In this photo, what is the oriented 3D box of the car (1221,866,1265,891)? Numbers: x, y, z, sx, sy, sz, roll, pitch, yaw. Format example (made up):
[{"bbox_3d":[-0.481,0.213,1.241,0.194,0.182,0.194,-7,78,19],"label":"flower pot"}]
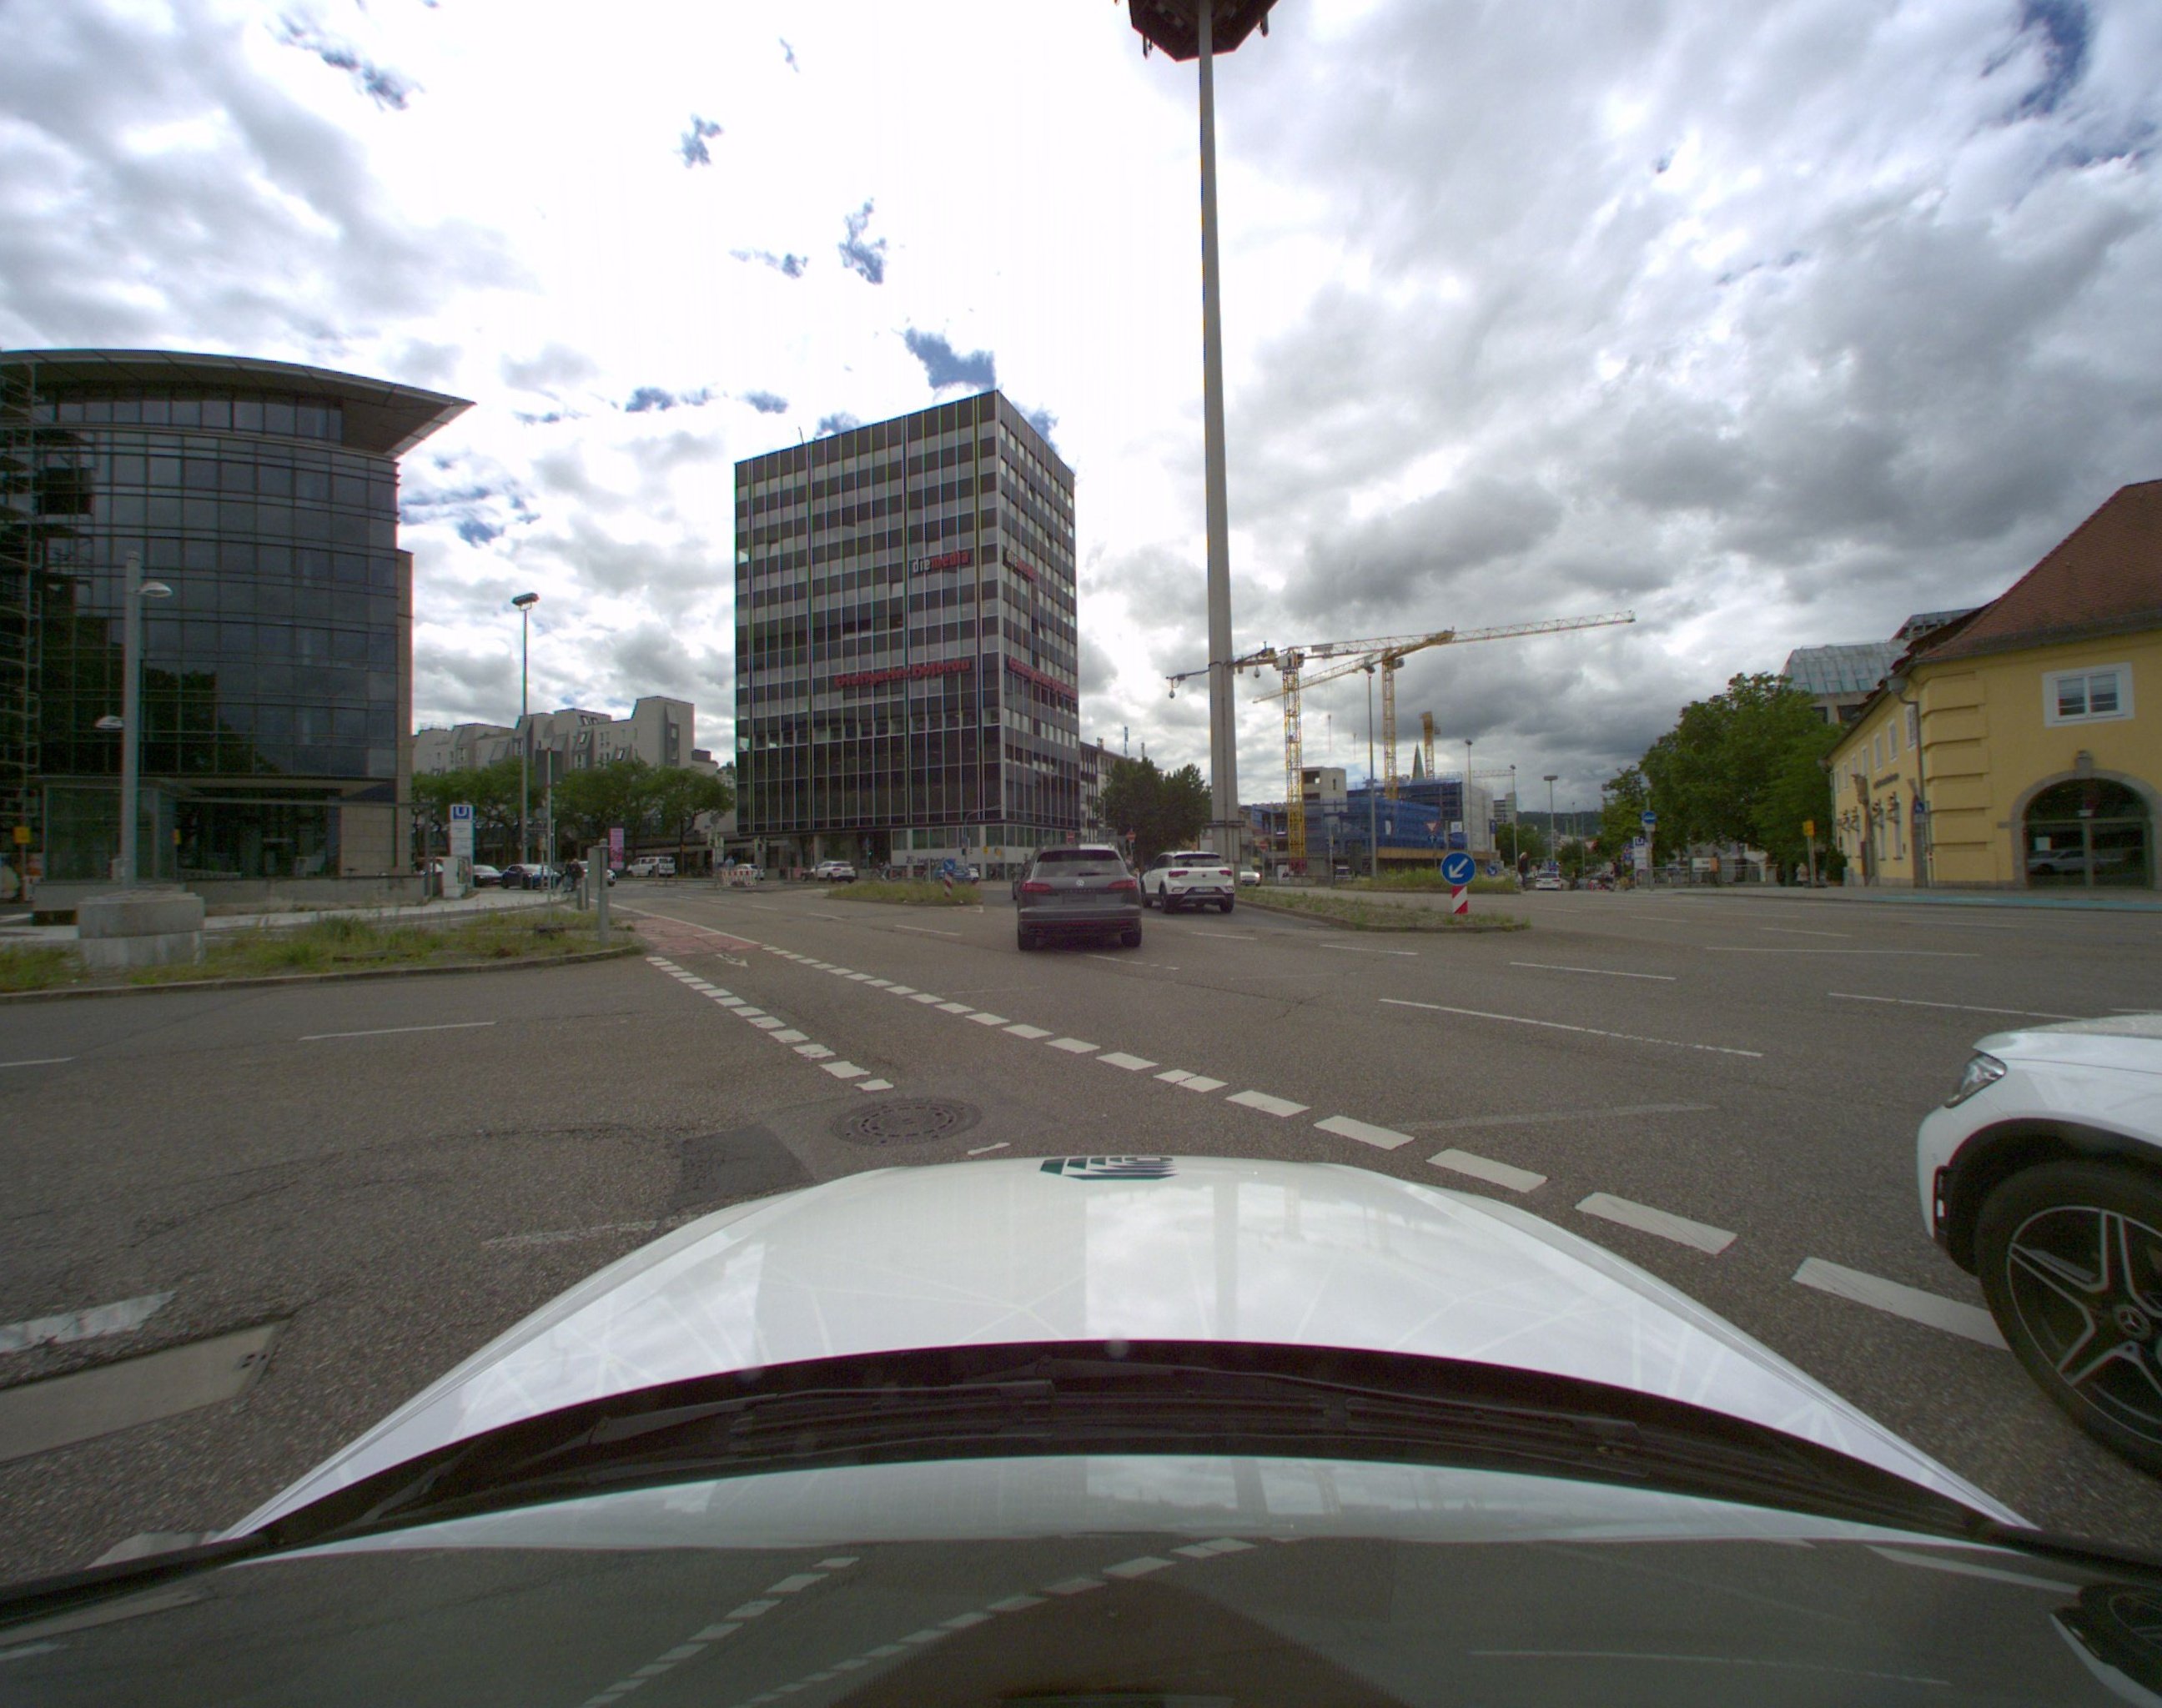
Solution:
[{"bbox_3d":[10.099,1.518,51.105,1.722,1.418,3.639,0,0,-6],"label":"car"}]

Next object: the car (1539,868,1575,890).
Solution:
[{"bbox_3d":[36.994,1.952,63.288,1.855,1.602,4.024,-1,-3,38],"label":"car"}]

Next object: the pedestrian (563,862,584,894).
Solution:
[{"bbox_3d":[-27.269,1.262,43.777,0.624,1.701,0.774,-1,-1,32],"label":"pedestrian"}]

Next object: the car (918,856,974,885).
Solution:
[{"bbox_3d":[-7.567,0.875,45.372,1.844,1.517,3.730,-1,0,-31],"label":"car"}]

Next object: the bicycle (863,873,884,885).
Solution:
[{"bbox_3d":[-18.908,2.305,74.167,1.747,1.007,0.684,1,1,21],"label":"bicycle"}]

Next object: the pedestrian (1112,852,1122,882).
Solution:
[{"bbox_3d":[2.424,0.880,54.977,0.637,1.955,0.612,0,-2,8],"label":"pedestrian"}]

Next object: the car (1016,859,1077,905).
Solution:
[{"bbox_3d":[-1.079,0.896,27.237,1.827,1.395,4.146,1,-1,0],"label":"car"}]

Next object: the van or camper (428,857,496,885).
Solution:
[{"bbox_3d":[-44.766,1.192,58.849,5.019,1.921,1.931,-1,0,28],"label":"van or camper"}]

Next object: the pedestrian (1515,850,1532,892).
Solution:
[{"bbox_3d":[20.738,0.790,38.168,0.552,1.895,0.642,-2,0,17],"label":"pedestrian"}]

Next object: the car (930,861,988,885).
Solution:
[{"bbox_3d":[-7.981,1.221,53.104,3.719,1.517,1.849,-1,0,43],"label":"car"}]

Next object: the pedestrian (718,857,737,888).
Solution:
[{"bbox_3d":[-21.219,1.125,48.898,0.626,1.790,0.722,1,3,28],"label":"pedestrian"}]

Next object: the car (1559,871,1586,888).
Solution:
[{"bbox_3d":[49.956,2.587,82.750,1.974,1.635,4.026,-1,0,37],"label":"car"}]

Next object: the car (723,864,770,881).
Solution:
[{"bbox_3d":[-30.448,1.661,74.076,4.277,1.418,2.076,-1,0,37],"label":"car"}]

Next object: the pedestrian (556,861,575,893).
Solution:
[{"bbox_3d":[-27.918,1.256,44.115,0.624,1.701,0.648,-1,-1,32],"label":"pedestrian"}]

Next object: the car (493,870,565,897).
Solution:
[{"bbox_3d":[-33.605,1.780,49.589,4.039,1.525,2.012,-1,-1,29],"label":"car"}]

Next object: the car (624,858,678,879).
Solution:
[{"bbox_3d":[-39.661,1.368,75.127,4.810,1.874,1.849,-1,0,25],"label":"car"}]

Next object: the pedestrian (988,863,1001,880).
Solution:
[{"bbox_3d":[-7.259,1.479,68.343,0.829,1.443,0.609,-1,0,24],"label":"pedestrian"}]

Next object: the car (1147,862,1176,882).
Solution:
[{"bbox_3d":[6.010,1.363,61.158,1.985,1.504,5.044,0,-2,4],"label":"car"}]

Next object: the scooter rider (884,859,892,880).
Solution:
[{"bbox_3d":[-16.599,1.348,70.107,0.642,1.809,0.590,-1,-1,-13],"label":"scooter rider"}]

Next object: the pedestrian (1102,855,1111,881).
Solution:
[{"bbox_3d":[1.782,0.986,56.772,0.638,1.797,0.611,0,-1,5],"label":"pedestrian"}]

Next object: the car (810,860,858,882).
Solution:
[{"bbox_3d":[-18.139,1.242,59.678,3.720,1.567,1.849,-1,0,45],"label":"car"}]

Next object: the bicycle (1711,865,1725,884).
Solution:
[{"bbox_3d":[36.617,1.157,46.816,0.613,1.086,1.783,-1,-1,38],"label":"bicycle"}]

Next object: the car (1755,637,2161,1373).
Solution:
[{"bbox_3d":[3.287,0.329,0.748,1.795,1.646,4.335,-1,0,1],"label":"car"}]

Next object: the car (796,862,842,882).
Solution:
[{"bbox_3d":[-21.484,1.453,66.783,3.949,1.574,1.877,-1,0,42],"label":"car"}]

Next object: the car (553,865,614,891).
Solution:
[{"bbox_3d":[-31.788,1.514,52.000,4.263,1.598,1.751,-1,-1,35],"label":"car"}]

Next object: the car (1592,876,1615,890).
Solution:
[{"bbox_3d":[69.941,3.872,108.981,1.975,1.635,4.025,-1,0,42],"label":"car"}]

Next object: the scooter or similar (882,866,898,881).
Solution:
[{"bbox_3d":[-16.469,1.674,70.136,1.321,1.176,0.590,-1,-1,-14],"label":"scooter or similar"}]

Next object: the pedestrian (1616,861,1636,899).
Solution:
[{"bbox_3d":[26.400,1.269,39.469,0.742,1.789,0.833,-1,0,35],"label":"pedestrian"}]

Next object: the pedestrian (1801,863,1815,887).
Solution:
[{"bbox_3d":[43.816,1.262,49.071,0.619,1.450,0.727,-1,-1,43],"label":"pedestrian"}]

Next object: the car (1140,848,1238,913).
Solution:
[{"bbox_3d":[2.745,0.631,21.466,1.794,1.545,3.930,-1,0,-4],"label":"car"}]

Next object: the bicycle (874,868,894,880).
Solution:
[{"bbox_3d":[-17.227,1.769,71.213,1.659,1.027,0.581,-1,-1,-1],"label":"bicycle"}]

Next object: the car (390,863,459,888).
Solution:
[{"bbox_3d":[-45.311,1.458,56.213,4.624,1.645,2.012,0,1,28],"label":"car"}]

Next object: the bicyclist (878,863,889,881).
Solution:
[{"bbox_3d":[-17.255,1.577,71.212,0.841,1.549,0.565,-1,-1,-1],"label":"bicyclist"}]

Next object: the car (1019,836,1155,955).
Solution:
[{"bbox_3d":[-0.055,0.595,13.973,1.966,1.695,4.218,-1,0,-4],"label":"car"}]
